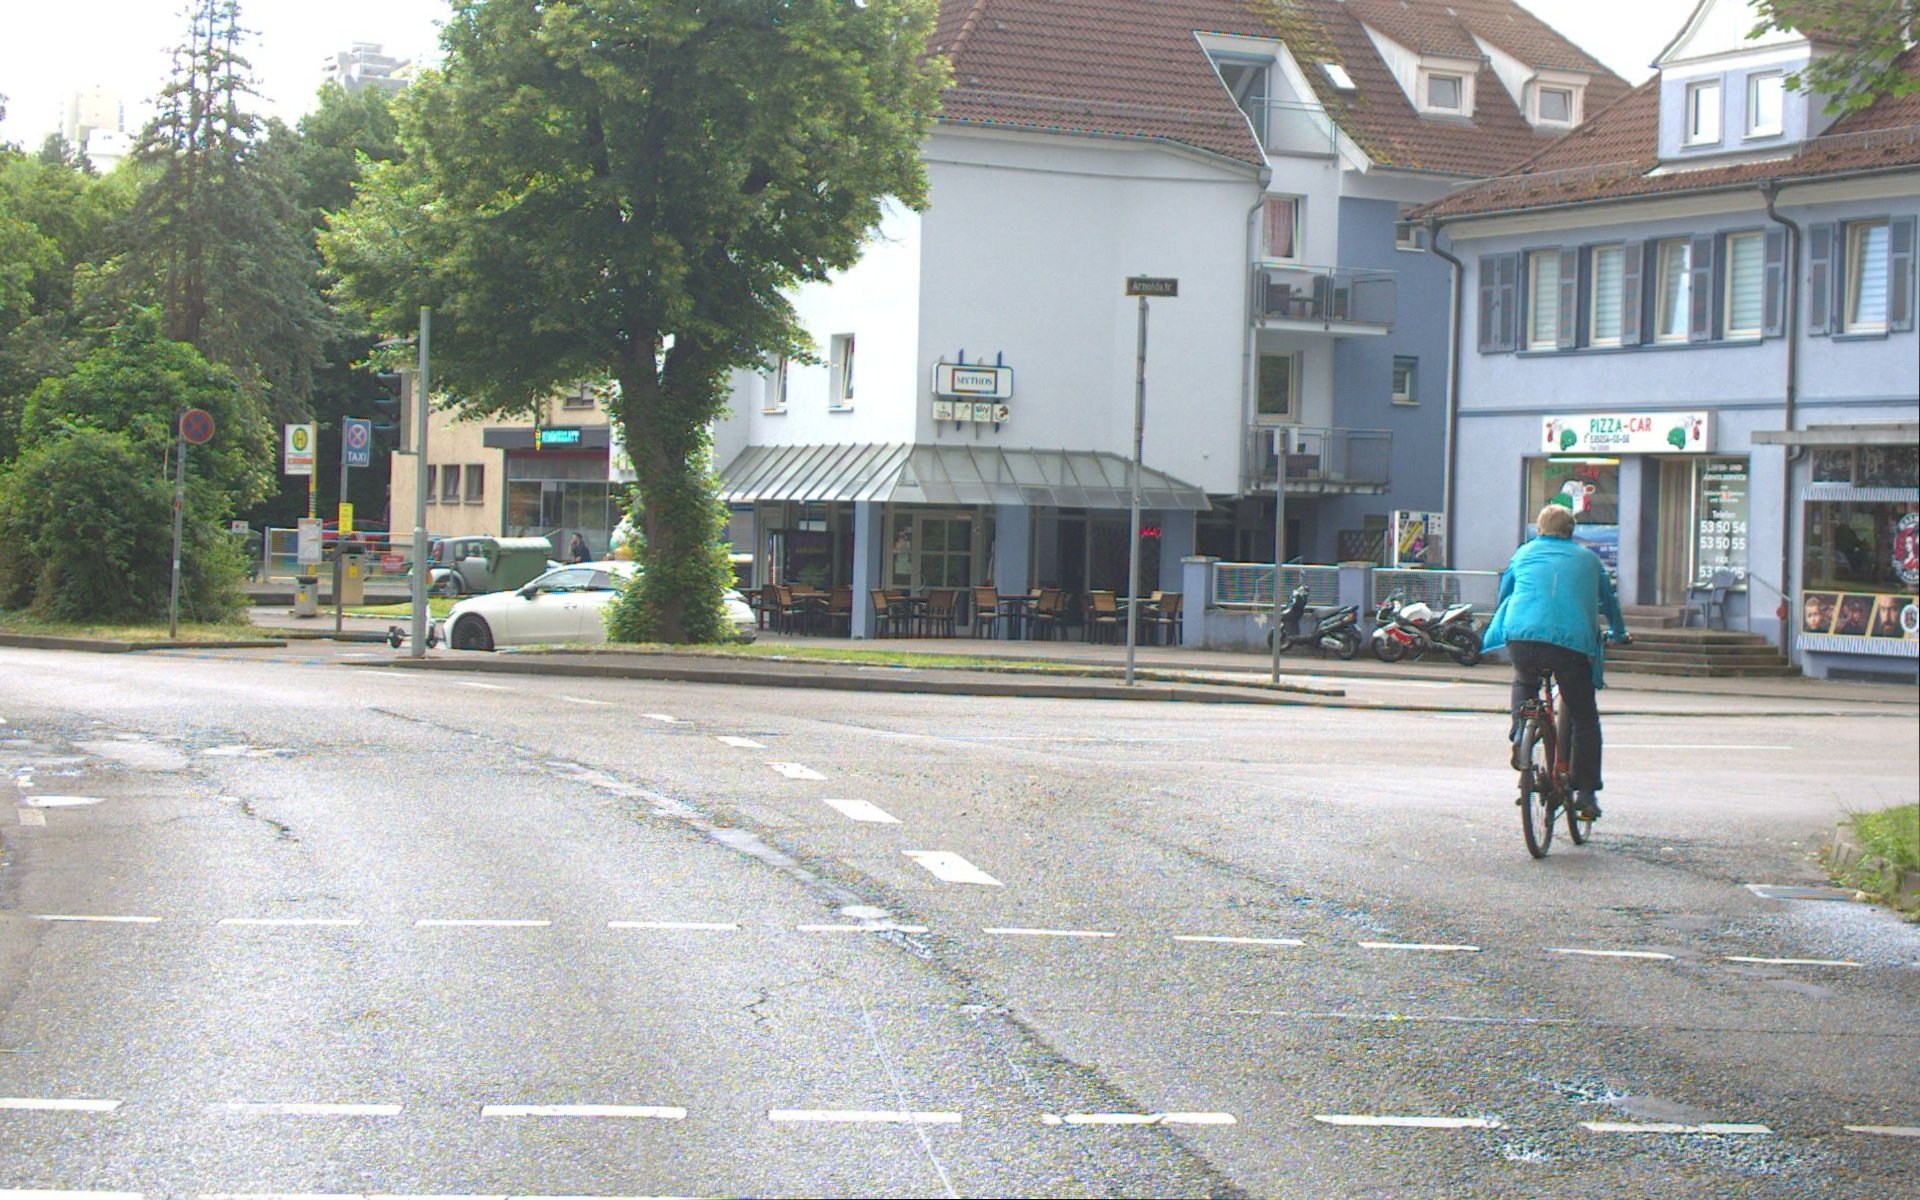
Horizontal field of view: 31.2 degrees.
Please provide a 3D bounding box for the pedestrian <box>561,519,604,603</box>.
[{"bbox_3d":[-9.128,-0.949,83.174,0.837,2.007,1.056,1,1,-16],"label":"pedestrian"}]

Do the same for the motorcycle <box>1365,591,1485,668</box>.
[{"bbox_3d":[6.885,0.433,50.912,1.628,1.085,0.626,1,1,31],"label":"motorcycle"}]

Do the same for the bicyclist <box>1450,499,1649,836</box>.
[{"bbox_3d":[3.009,0.324,17.480,0.916,1.646,0.988,1,1,13],"label":"bicyclist"}]

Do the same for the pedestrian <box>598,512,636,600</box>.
[{"bbox_3d":[-6.132,-0.781,61.393,0.543,1.554,0.467,1,0,12],"label":"pedestrian"}]

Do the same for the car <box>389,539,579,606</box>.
[{"bbox_3d":[-10.762,-0.624,77.760,3.936,1.437,1.753,1,1,-21],"label":"car"}]

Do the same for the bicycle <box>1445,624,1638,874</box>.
[{"bbox_3d":[2.997,0.723,17.580,0.874,1.145,1.952,1,1,12],"label":"bicycle"}]

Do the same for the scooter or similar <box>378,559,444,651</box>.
[{"bbox_3d":[-7.152,0.055,44.824,0.442,1.171,1.437,1,1,7],"label":"scooter or similar"}]

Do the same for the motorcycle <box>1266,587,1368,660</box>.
[{"bbox_3d":[5.468,0.353,52.648,1.458,1.085,0.523,1,1,34],"label":"motorcycle"}]

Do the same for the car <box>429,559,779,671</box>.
[{"bbox_3d":[-5.002,0.184,48.022,4.708,1.405,1.899,2,1,34],"label":"car"}]
